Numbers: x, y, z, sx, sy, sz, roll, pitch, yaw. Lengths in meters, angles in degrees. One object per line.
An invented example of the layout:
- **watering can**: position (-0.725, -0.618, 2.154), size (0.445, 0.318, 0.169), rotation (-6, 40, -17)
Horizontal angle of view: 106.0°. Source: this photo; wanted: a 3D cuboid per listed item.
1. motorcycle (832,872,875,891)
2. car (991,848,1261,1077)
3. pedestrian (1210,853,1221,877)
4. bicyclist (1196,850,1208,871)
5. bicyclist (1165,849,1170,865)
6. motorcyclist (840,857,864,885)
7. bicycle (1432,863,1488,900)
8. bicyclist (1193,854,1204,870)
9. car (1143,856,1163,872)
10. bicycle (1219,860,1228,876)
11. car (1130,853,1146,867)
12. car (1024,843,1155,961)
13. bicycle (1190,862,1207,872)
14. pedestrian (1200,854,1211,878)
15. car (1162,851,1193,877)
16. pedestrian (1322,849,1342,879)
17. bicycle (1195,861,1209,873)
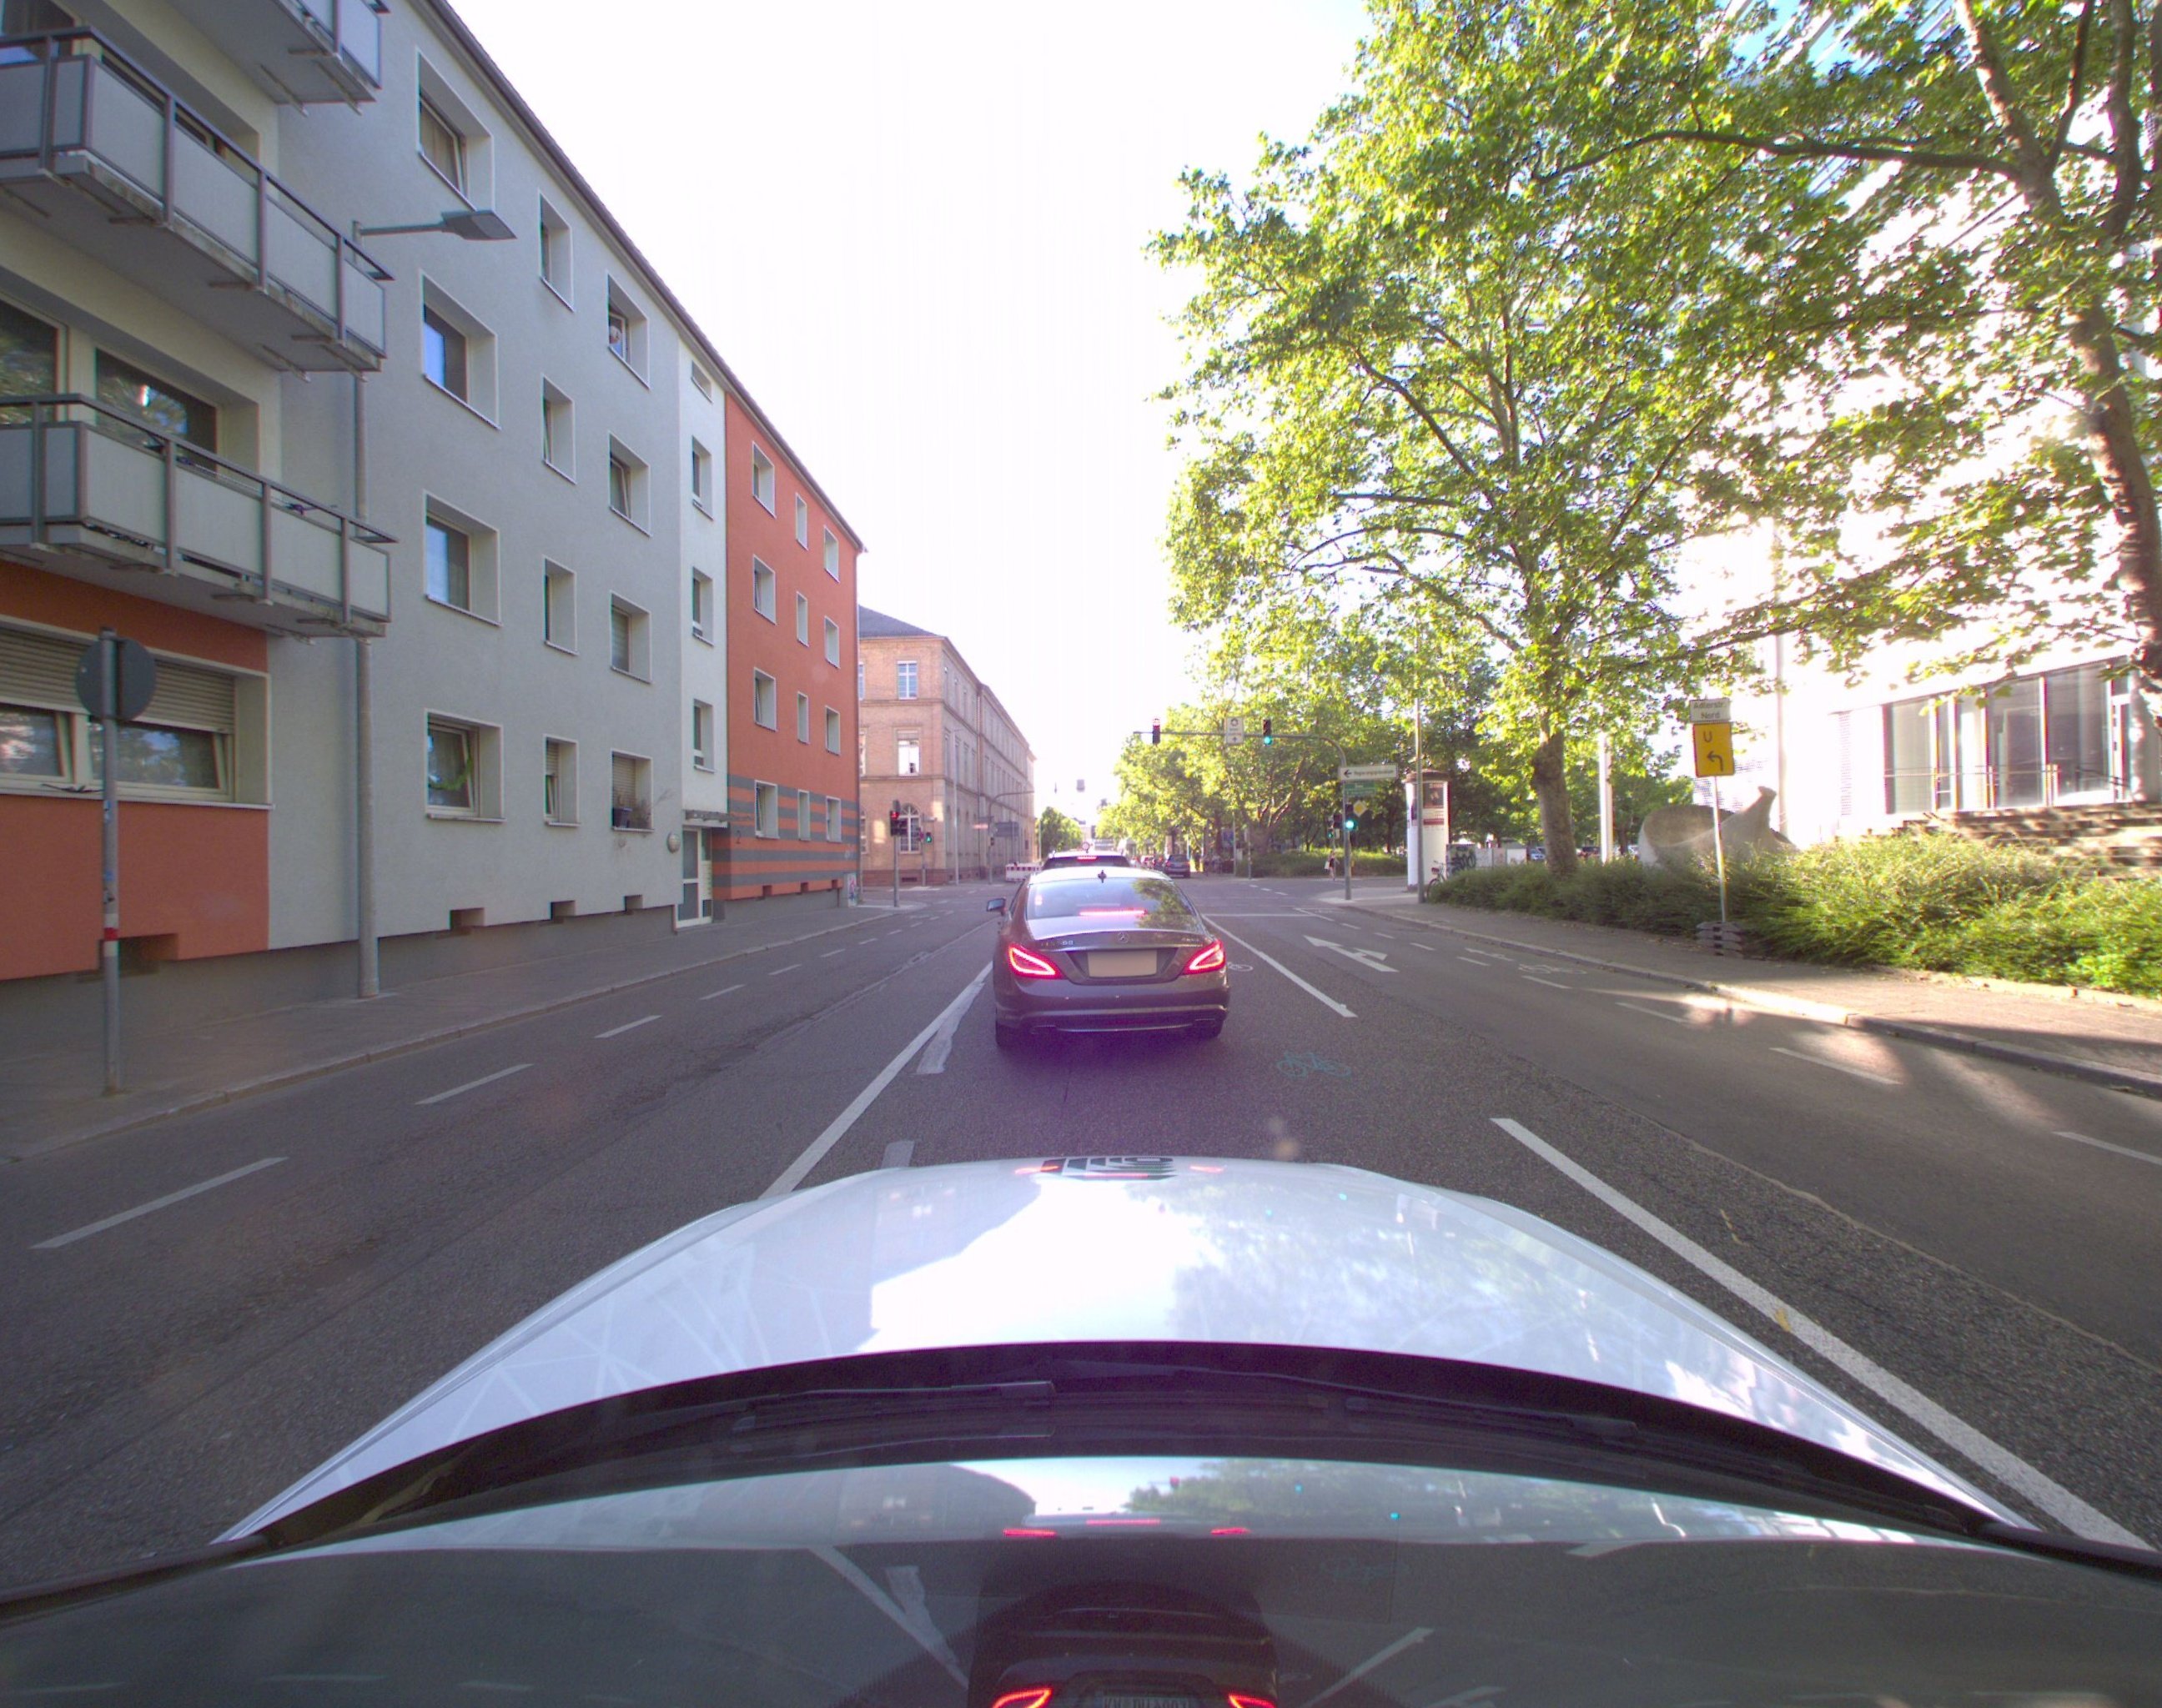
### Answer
- **motorcycle**: position (-10.903, 1.305, 39.020), size (2.033, 0.892, 0.760), rotation (-1, -1, 31)
- **car**: position (0.138, 0.734, 7.584), size (1.859, 1.519, 3.992), rotation (-1, 0, -6)
- **pedestrian**: position (9.968, 0.836, 60.427), size (0.634, 1.760, 0.698), rotation (0, -1, -2)
- **bicyclist**: position (9.655, 0.511, 65.198), size (0.822, 1.618, 0.958), rotation (0, -1, 1)
- **bicyclist**: position (11.124, 0.340, 104.883), size (0.593, 2.039, 0.566), rotation (0, -1, -3)
- **motorcyclist**: position (-10.998, 0.808, 39.111), size (0.792, 1.294, 0.794), rotation (-1, -1, 30)
- **bicycle**: position (10.978, 0.778, 23.559), size (1.895, 1.028, 0.635), rotation (0, -1, -36)
- **bicyclist**: position (9.901, 0.673, 68.742), size (0.726, 1.398, 0.703), rotation (-1, -1, 30)
- **car**: position (7.125, 0.962, 80.831), size (1.698, 1.519, 4.002), rotation (-1, 0, 2)
- **bicycle**: position (10.559, 1.040, 60.342), size (0.480, 1.202, 1.607), rotation (0, -1, 2)
- **car**: position (6.623, 0.696, 94.523), size (1.725, 1.662, 3.682), rotation (0, -1, 2)
- **car**: position (0.186, 0.692, 13.719), size (1.854, 1.682, 4.002), rotation (-1, 0, 2)
- **bicycle**: position (9.914, 1.086, 68.759), size (0.716, 0.791, 1.940), rotation (-1, -1, 30)
- **pedestrian**: position (9.254, 0.898, 60.515), size (0.634, 1.797, 0.698), rotation (0, -1, -2)
- **car**: position (6.983, 0.718, 59.330), size (1.854, 1.764, 4.483), rotation (-1, 0, 2)
- **pedestrian**: position (13.332, 0.540, 43.323), size (0.636, 1.545, 0.906), rotation (0, -1, -13)
- **bicycle**: position (9.664, 1.057, 65.273), size (0.825, 0.924, 2.618), rotation (0, 0, 2)
